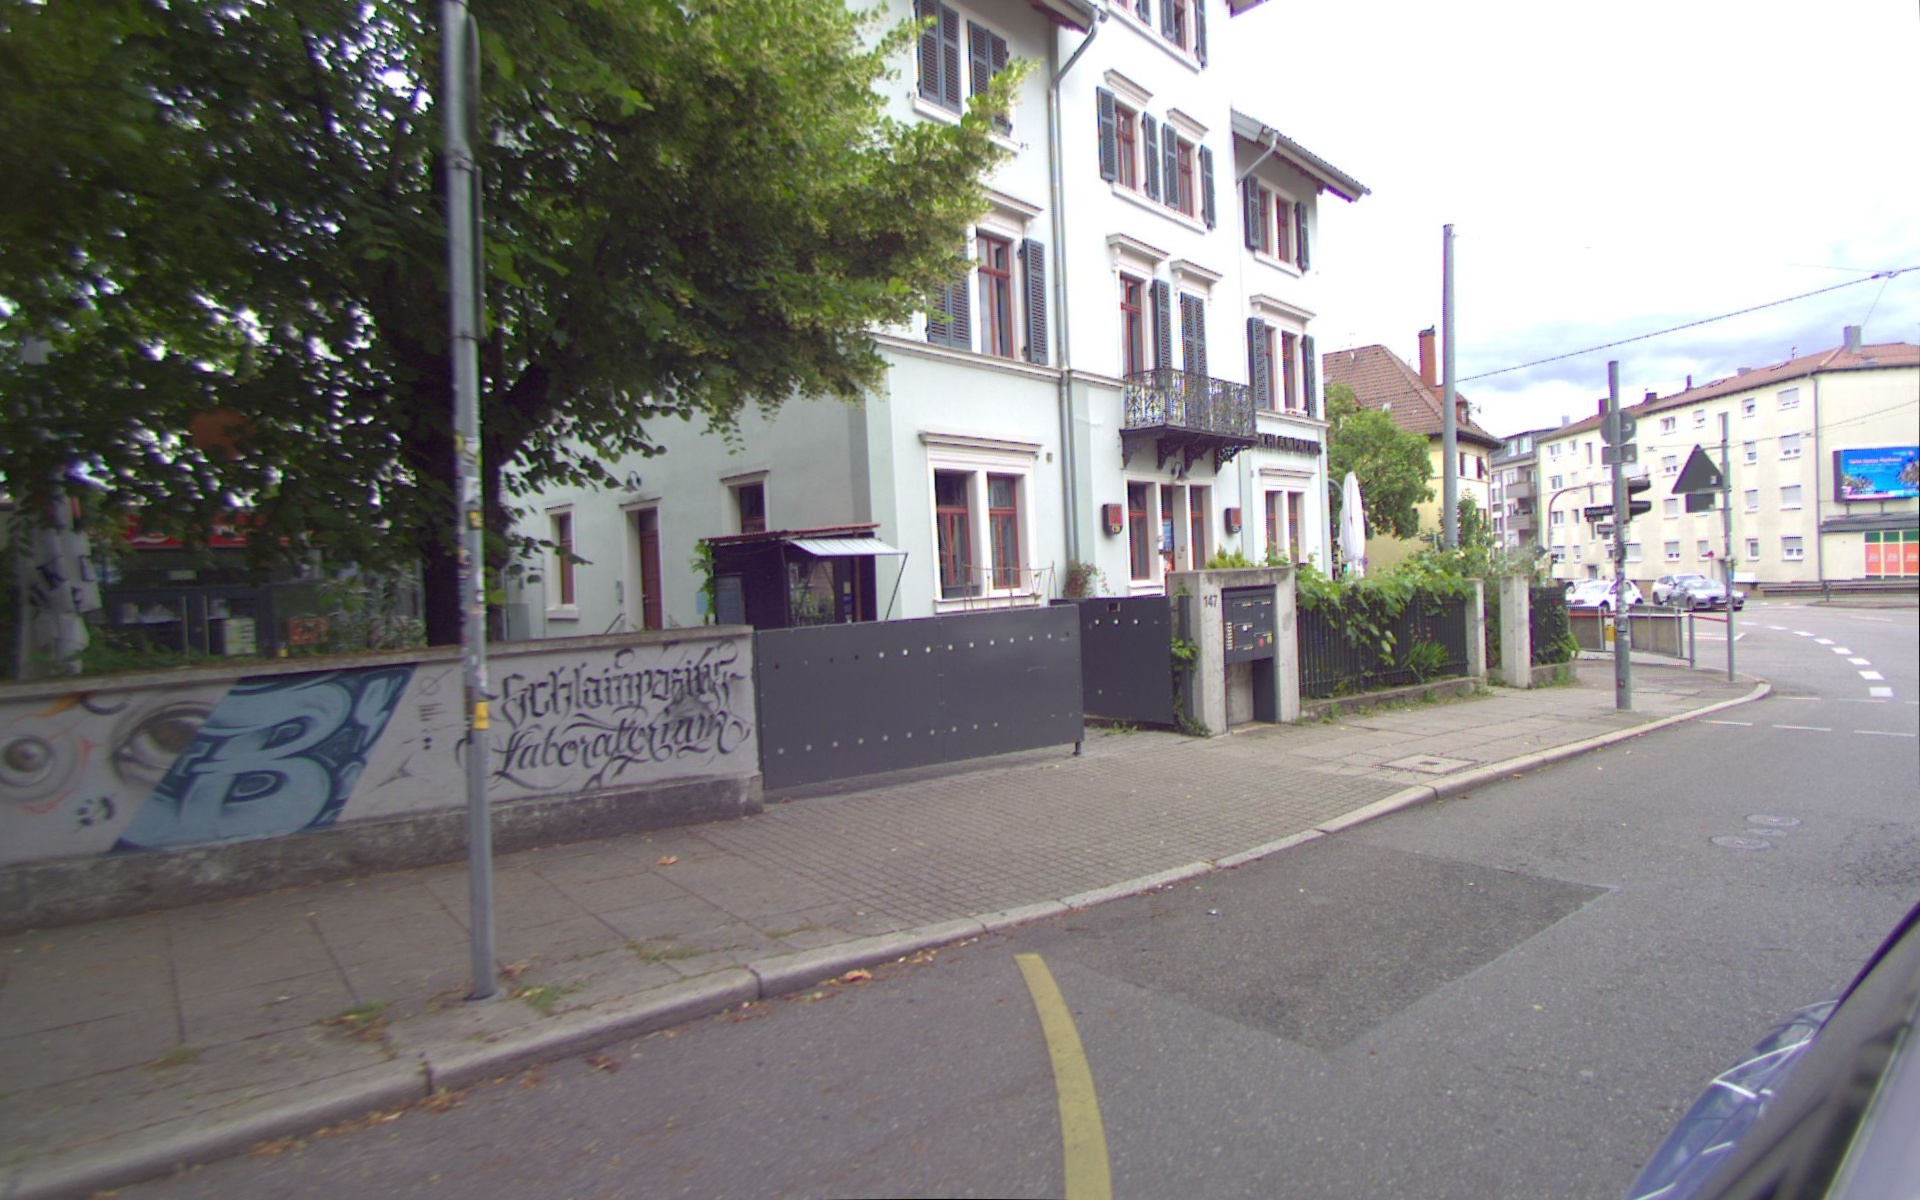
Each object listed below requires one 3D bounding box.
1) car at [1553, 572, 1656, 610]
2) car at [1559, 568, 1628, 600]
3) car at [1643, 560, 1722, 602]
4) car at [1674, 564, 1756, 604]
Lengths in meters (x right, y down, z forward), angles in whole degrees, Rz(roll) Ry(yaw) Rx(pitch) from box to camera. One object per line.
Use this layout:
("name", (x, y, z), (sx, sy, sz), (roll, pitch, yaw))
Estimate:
("car", (26.612, -0.369, 41.791), (3.808, 1.498, 1.911), (-1, -1, -28))
("car", (33.906, -0.833, 54.286), (1.925, 1.570, 4.017), (-1, 0, 14))
("car", (37.665, -1.014, 52.883), (1.972, 2.038, 4.248), (-3, 1, 17))
("car", (32.598, -0.666, 43.798), (2.018, 1.570, 4.000), (-2, 0, 25))
